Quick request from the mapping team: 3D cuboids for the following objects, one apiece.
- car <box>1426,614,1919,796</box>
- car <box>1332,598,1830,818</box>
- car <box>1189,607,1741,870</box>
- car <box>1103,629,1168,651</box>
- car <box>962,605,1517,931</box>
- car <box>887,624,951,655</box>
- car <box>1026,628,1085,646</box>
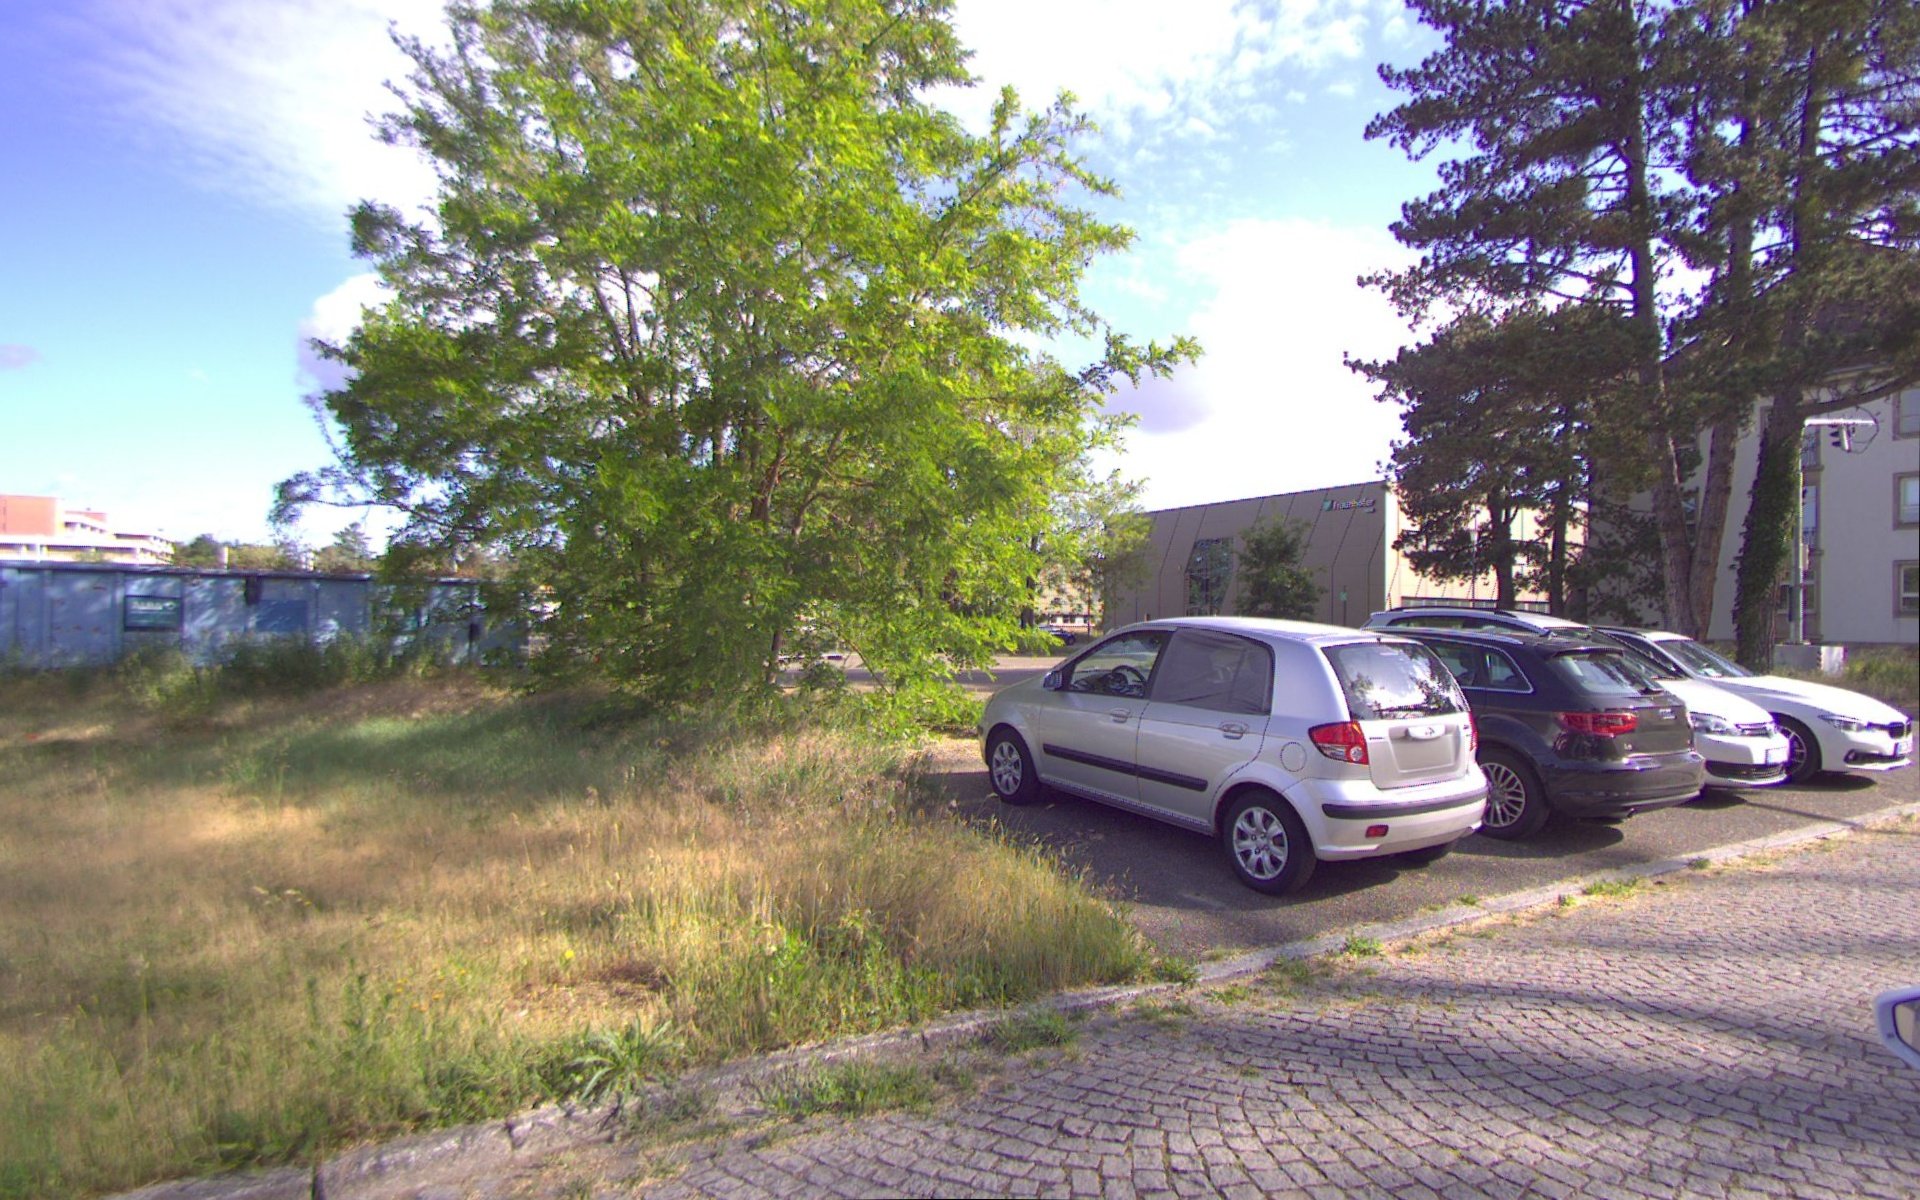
[{"bbox_3d":[8.001,1.002,11.592,1.734,1.487,4.514,1,1,-33],"label":"car"},{"bbox_3d":[6.024,0.884,10.199,1.704,1.648,3.918,1,1,-34],"label":"car"},{"bbox_3d":[3.880,0.902,8.371,1.669,1.490,3.776,1,1,-31],"label":"car"},{"bbox_3d":[10.966,2.482,62.702,4.001,1.311,1.481,1,-1,-29],"label":"car"},{"bbox_3d":[1.637,0.863,6.899,1.619,1.490,3.444,1,1,-33],"label":"car"},{"bbox_3d":[-2.048,1.896,48.761,1.726,1.388,3.596,1,-1,-28],"label":"car"},{"bbox_3d":[6.755,2.602,70.993,3.949,1.221,1.481,1,-1,-28],"label":"car"}]
